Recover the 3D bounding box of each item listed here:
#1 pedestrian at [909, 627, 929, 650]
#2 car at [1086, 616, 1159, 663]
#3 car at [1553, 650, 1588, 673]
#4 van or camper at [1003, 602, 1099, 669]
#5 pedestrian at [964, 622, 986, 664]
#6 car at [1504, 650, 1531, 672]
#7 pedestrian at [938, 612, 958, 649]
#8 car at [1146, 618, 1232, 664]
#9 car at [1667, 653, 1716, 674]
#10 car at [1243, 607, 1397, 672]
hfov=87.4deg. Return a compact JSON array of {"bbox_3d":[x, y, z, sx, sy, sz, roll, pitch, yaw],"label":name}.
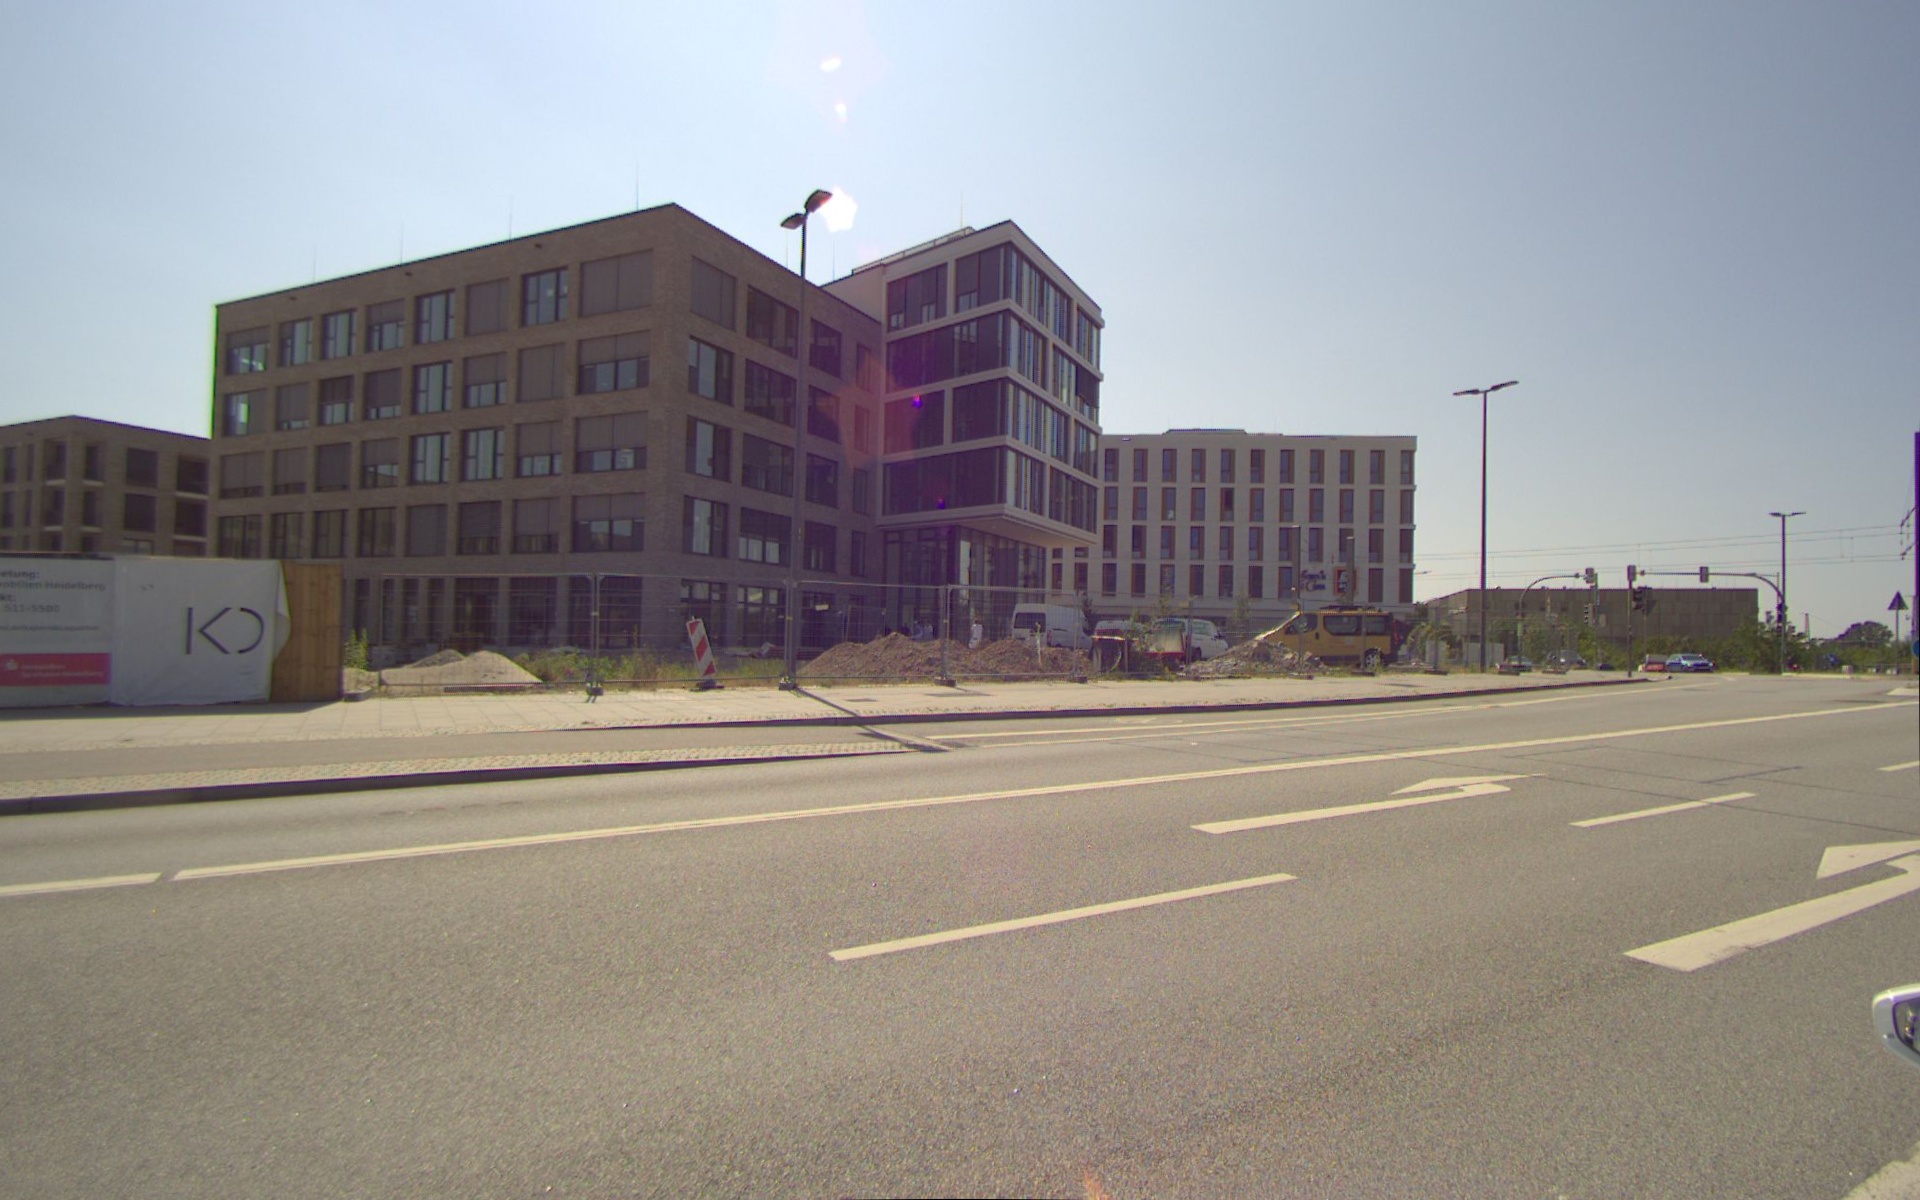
[{"bbox_3d":[-1.952,1.819,47.367,0.734,1.041,0.699,2,0,16],"label":"pedestrian"},{"bbox_3d":[7.103,1.689,43.666,1.759,1.881,3.843,2,0,31],"label":"car"},{"bbox_3d":[44.432,4.461,73.155,1.646,1.496,3.405,0,-1,22],"label":"car"},{"bbox_3d":[4.152,1.546,45.113,2.273,2.772,4.975,2,0,32],"label":"van or camper"},{"bbox_3d":[0.653,1.815,42.627,0.734,1.741,0.699,2,0,16],"label":"pedestrian"},{"bbox_3d":[45.841,4.980,82.604,1.541,1.608,3.477,2,0,23],"label":"car"},{"bbox_3d":[-0.594,1.475,48.959,0.734,1.741,0.699,2,0,16],"label":"pedestrian"},{"bbox_3d":[9.658,1.684,42.164,1.841,1.797,4.637,2,0,36],"label":"car"},{"bbox_3d":[52.299,4.530,71.917,1.787,1.348,4.000,2,-2,20],"label":"car"},{"bbox_3d":[12.000,1.290,33.783,4.533,1.988,1.991,2,0,9],"label":"car"}]
